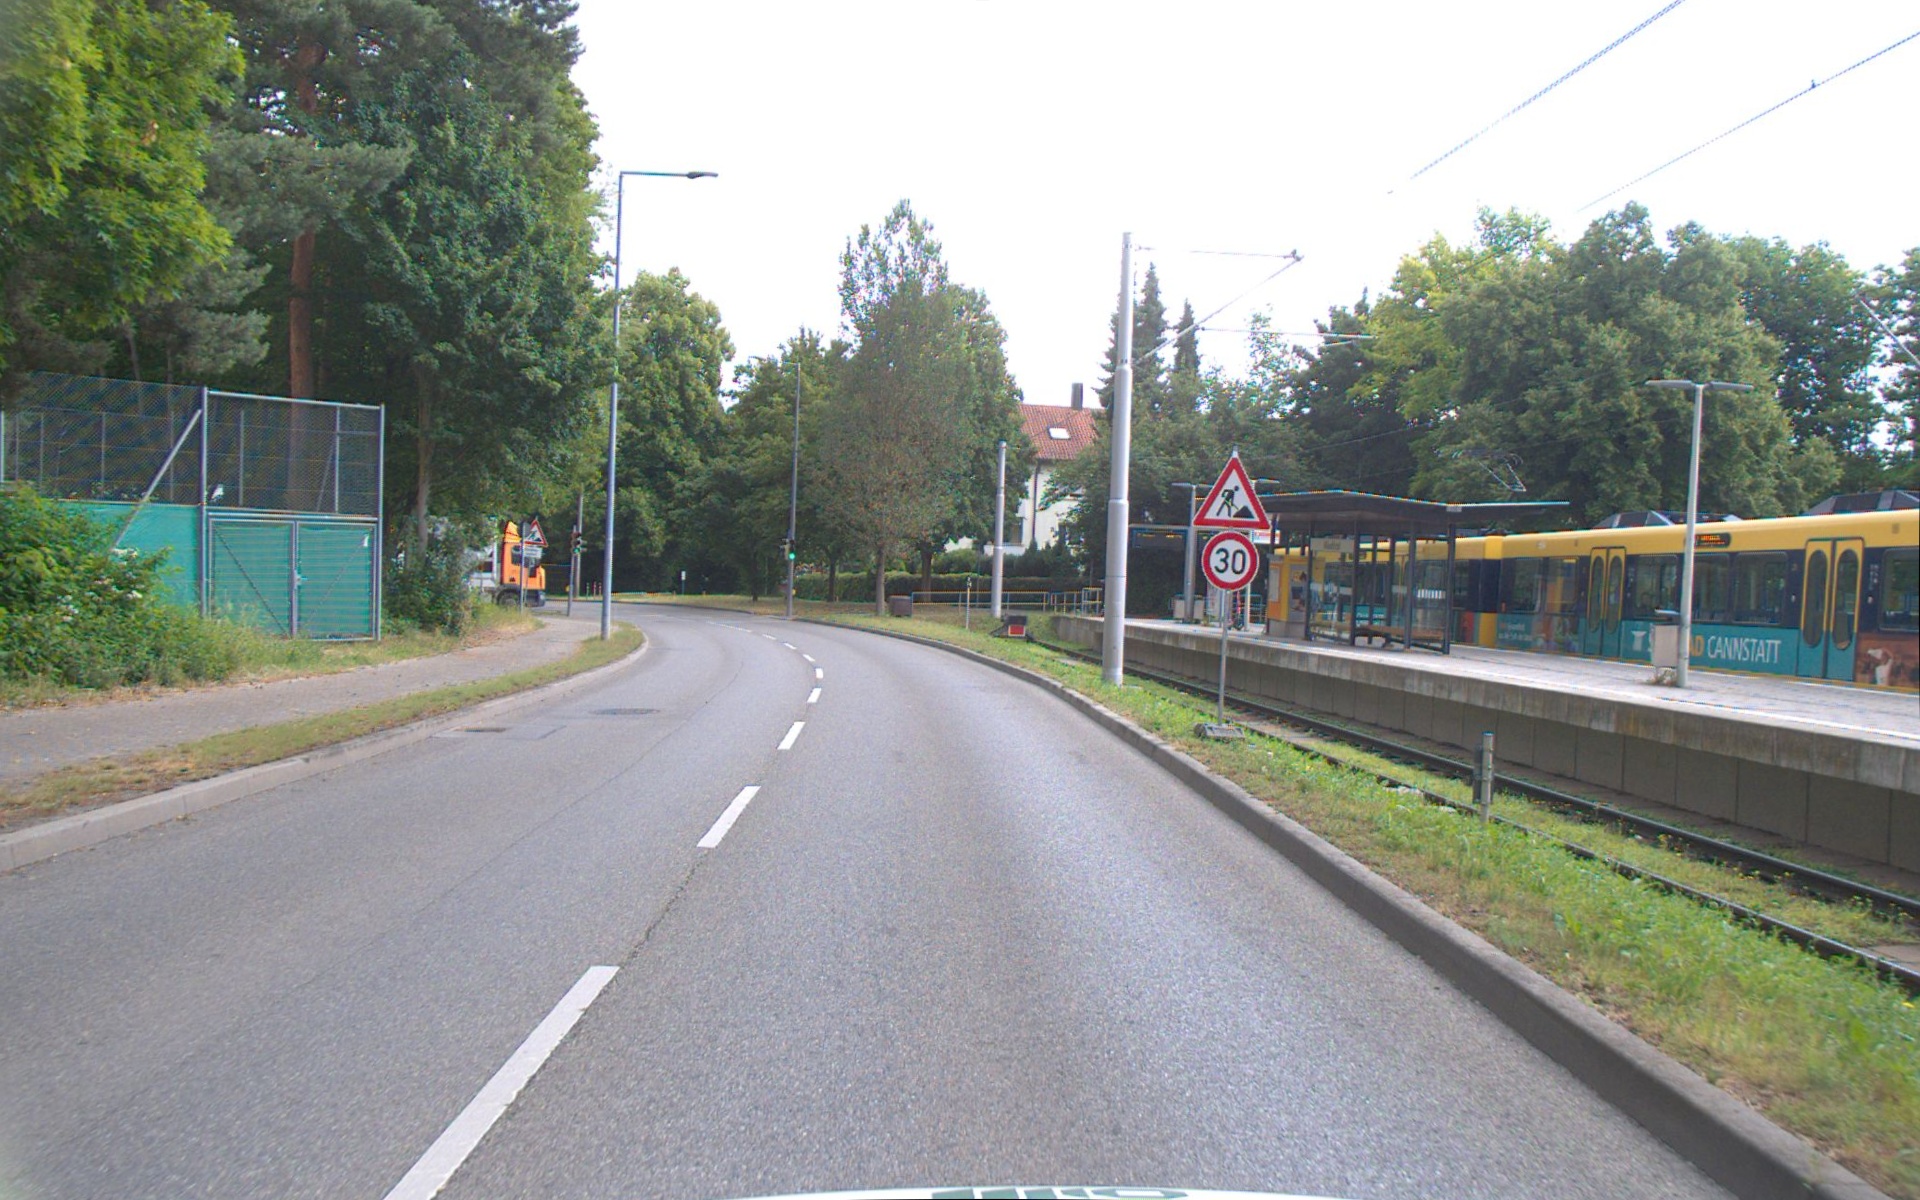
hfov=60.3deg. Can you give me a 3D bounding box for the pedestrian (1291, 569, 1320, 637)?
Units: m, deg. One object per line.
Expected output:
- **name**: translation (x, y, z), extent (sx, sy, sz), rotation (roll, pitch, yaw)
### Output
- **pedestrian**: translation (8.229, 0.073, 39.389), extent (0.609, 1.600, 0.665), rotation (2, 0, 12)

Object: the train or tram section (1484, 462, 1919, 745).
- **train or tram section**: translation (13.897, 0.009, 27.474), extent (2.758, 3.801, 19.499), rotation (3, 1, -4)

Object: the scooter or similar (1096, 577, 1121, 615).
- **scooter or similar**: translation (5.141, -0.122, 57.307), extent (0.423, 1.275, 1.249), rotation (1, -1, -17)

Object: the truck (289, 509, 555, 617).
- **truck**: translation (-19.826, -1.316, 61.315), extent (9.091, 3.593, 2.551), rotation (2, 0, -19)

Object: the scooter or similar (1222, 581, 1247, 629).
- **scooter or similar**: translation (7.502, 0.134, 45.160), extent (0.361, 1.264, 1.145), rotation (2, 1, -5)

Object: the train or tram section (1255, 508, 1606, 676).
- **train or tram section**: translation (12.352, -0.374, 47.027), extent (2.759, 3.650, 19.496), rotation (3, 1, -5)
